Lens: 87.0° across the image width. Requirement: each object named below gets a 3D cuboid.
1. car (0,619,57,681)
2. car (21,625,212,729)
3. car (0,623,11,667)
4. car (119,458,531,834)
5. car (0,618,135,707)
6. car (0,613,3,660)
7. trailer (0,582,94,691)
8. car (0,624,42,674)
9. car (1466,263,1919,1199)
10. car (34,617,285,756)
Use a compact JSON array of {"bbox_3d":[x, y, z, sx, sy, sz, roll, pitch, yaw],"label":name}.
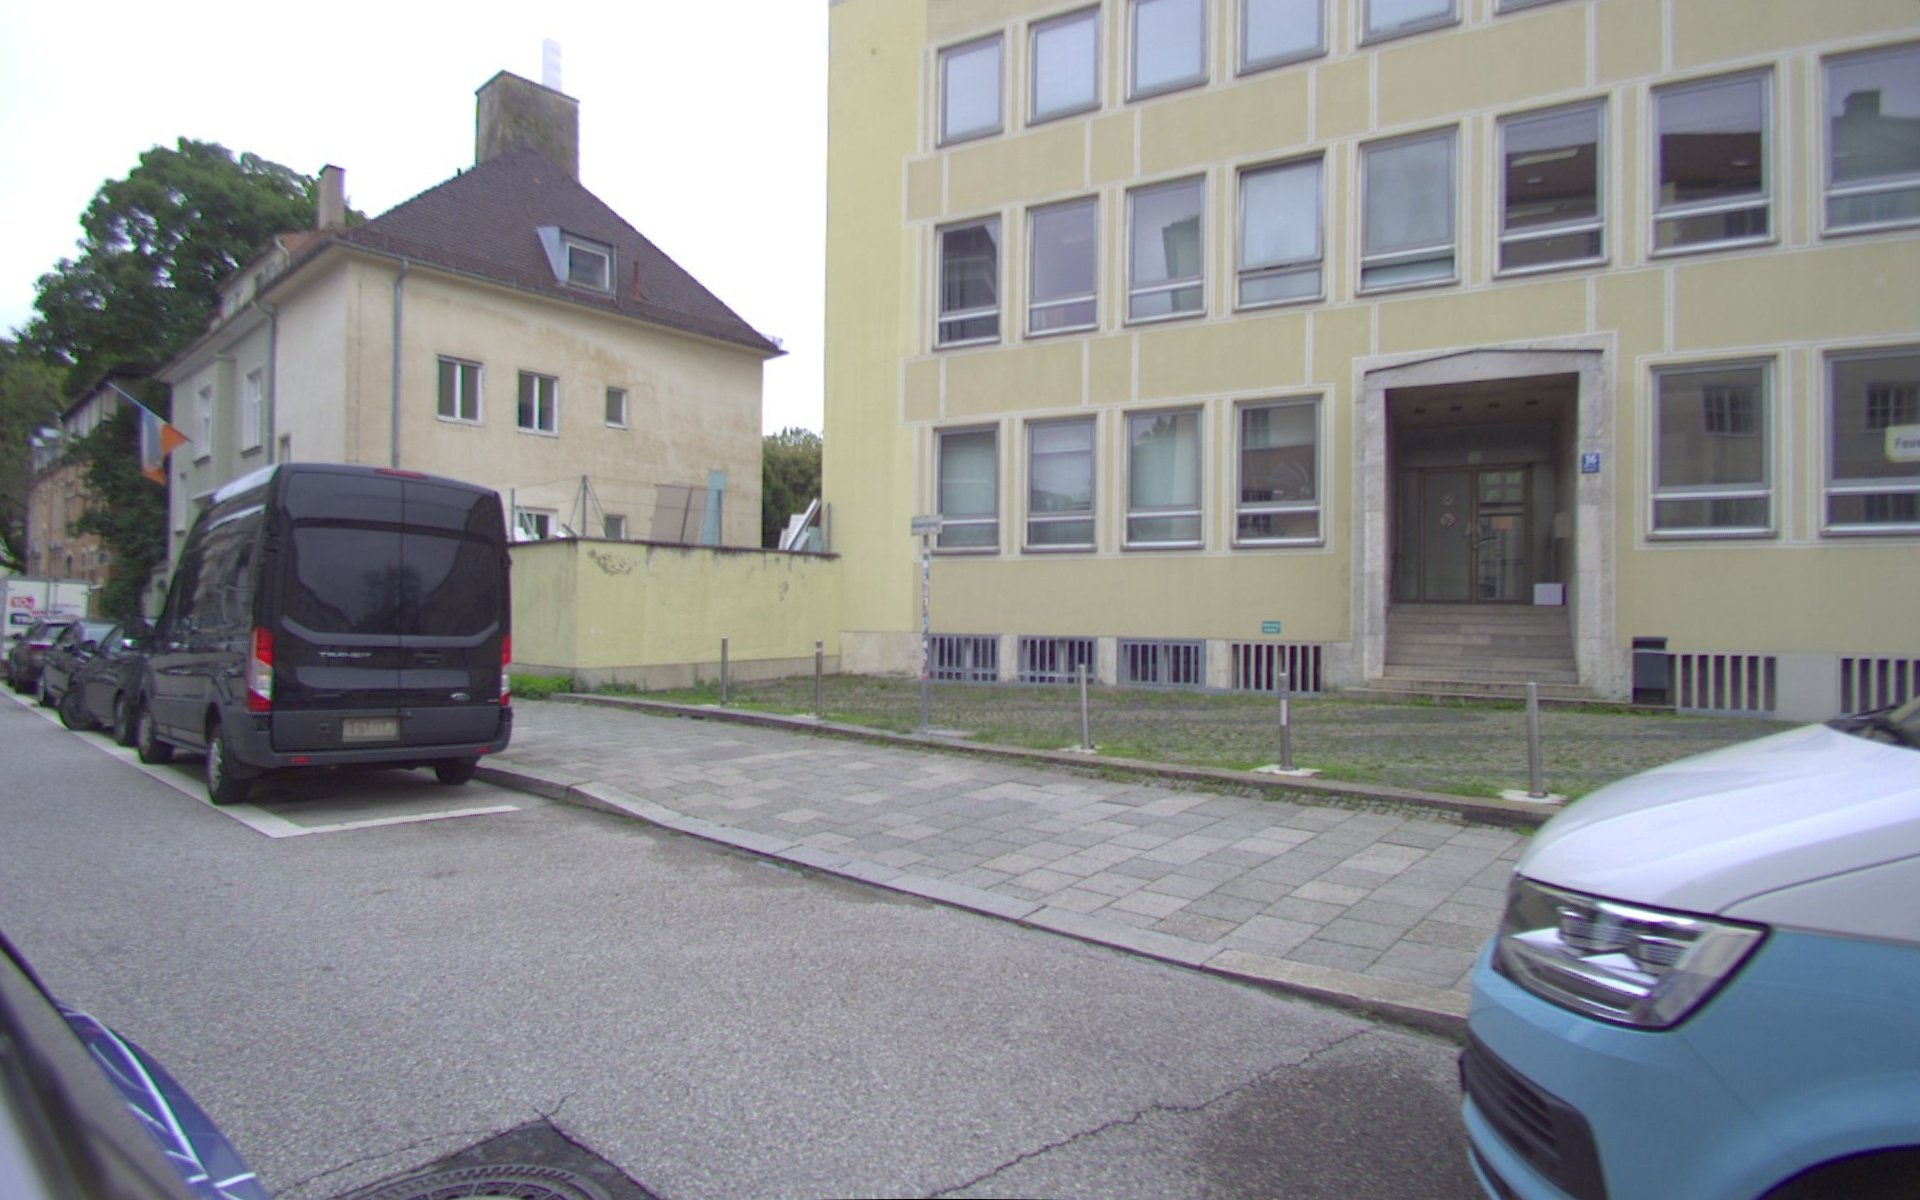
[{"bbox_3d":[-26.574,1.346,28.155,3.920,1.615,1.669,0,-4,42],"label":"car"},{"bbox_3d":[-13.610,1.137,16.268,3.821,1.457,1.684,-1,-1,40],"label":"car"},{"bbox_3d":[-34.721,1.541,35.666,3.311,1.478,1.458,0,-3,41],"label":"car"},{"bbox_3d":[-6.341,0.379,9.762,5.377,2.656,2.065,-1,-2,44],"label":"car"},{"bbox_3d":[-18.280,1.215,20.597,4.543,1.550,1.746,0,-3,45],"label":"car"},{"bbox_3d":[-39.154,1.364,39.864,4.143,1.817,1.672,0,-3,41],"label":"car"},{"bbox_3d":[-22.796,0.887,24.977,4.388,2.480,1.690,-1,-4,45],"label":"trailer"},{"bbox_3d":[-30.706,1.509,31.975,4.330,1.423,1.842,1,-3,40],"label":"car"},{"bbox_3d":[3.231,0.532,1.029,4.596,1.946,1.864,-1,-4,39],"label":"car"},{"bbox_3d":[-10.300,1.005,12.961,3.535,1.550,1.572,-1,-2,35],"label":"car"}]
